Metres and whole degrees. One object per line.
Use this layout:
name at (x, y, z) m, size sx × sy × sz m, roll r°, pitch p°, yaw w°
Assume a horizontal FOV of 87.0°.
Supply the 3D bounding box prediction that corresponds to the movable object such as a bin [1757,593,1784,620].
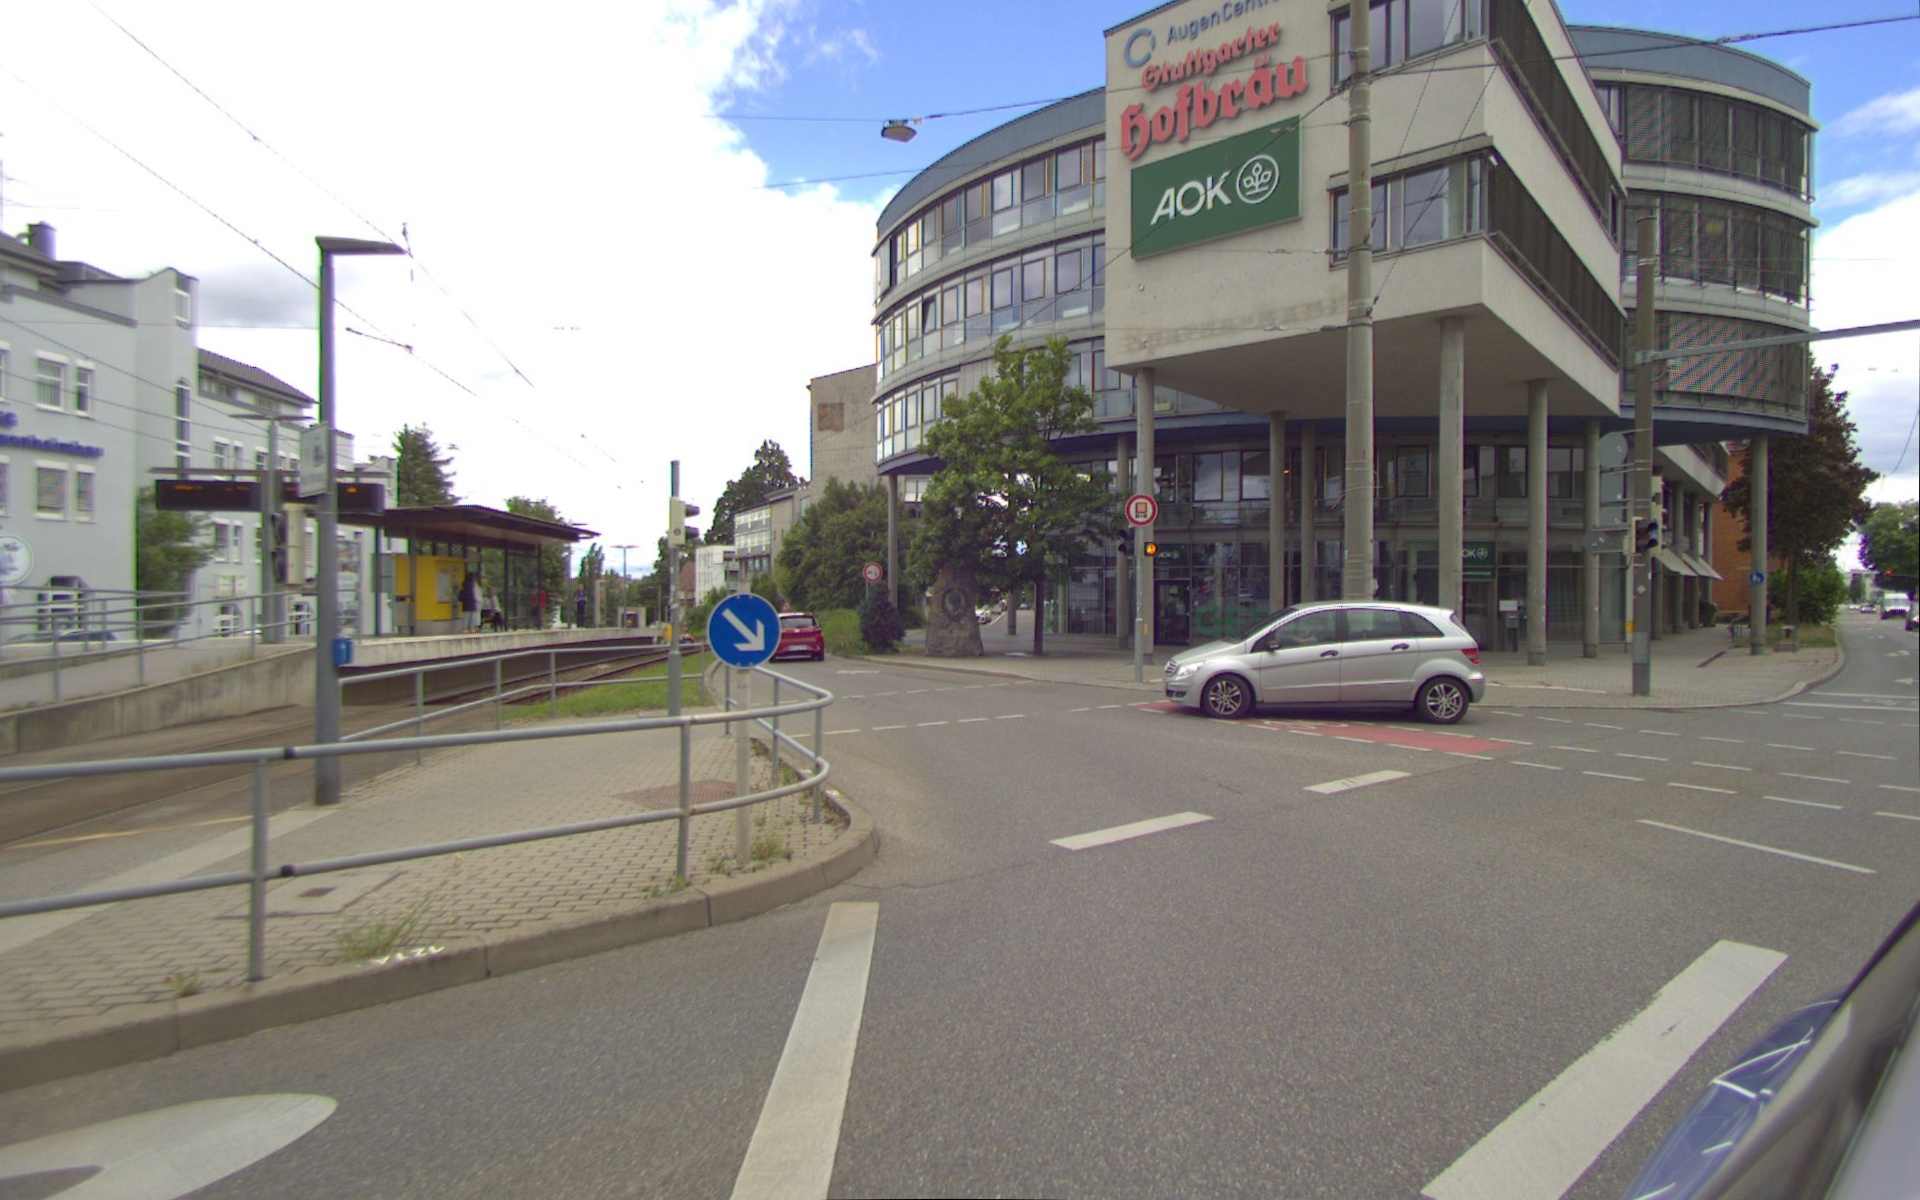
movable object such as a bin at (45.639, 0.353, 56.989) m, size 1.126 × 1.484 × 1.392 m, roll 2°, pitch 2°, yaw 40°

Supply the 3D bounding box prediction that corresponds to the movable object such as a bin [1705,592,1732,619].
movable object such as a bin at (42.950, 0.291, 57.334) m, size 1.121 × 1.484 × 1.314 m, roll 2°, pitch 2°, yaw 40°

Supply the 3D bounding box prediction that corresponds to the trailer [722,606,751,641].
trailer at (-18.037, 1.857, 81.593) m, size 1.844 × 2.646 × 4.332 m, roll -1°, pitch 0°, yaw -18°

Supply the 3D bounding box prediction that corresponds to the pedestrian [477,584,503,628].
pedestrian at (-13.875, 0.168, 29.886) m, size 0.558 × 1.281 × 0.590 m, roll 0°, pitch -1°, yaw -6°

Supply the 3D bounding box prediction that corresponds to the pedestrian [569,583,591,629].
pedestrian at (-14.438, 0.220, 38.460) m, size 0.773 × 1.740 × 0.691 m, roll 0°, pitch -2°, yaw -20°

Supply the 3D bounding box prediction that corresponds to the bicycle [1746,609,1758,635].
bicycle at (35.235, 0.954, 45.010) m, size 0.360 × 1.100 × 1.998 m, roll -1°, pitch 0°, yaw 39°

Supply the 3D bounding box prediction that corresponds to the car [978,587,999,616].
car at (2.965, 0.121, 104.871) m, size 2.125 × 2.866 × 6.106 m, roll 0°, pitch 0°, yaw 2°

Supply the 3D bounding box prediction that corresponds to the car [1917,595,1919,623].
car at (56.105, 0.527, 57.871) m, size 1.959 × 1.545 × 4.501 m, roll 1°, pitch 1°, yaw 43°

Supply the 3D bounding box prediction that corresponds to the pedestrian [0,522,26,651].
pedestrian at (-13.286, -0.182, 13.699) m, size 0.690 × 1.740 × 0.651 m, roll 0°, pitch 0°, yaw -8°

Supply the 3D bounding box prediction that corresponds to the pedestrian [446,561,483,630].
pedestrian at (-12.729, -0.102, 26.028) m, size 0.675 × 1.740 × 0.790 m, roll 0°, pitch -1°, yaw -11°

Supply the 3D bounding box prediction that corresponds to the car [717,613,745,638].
car at (-19.474, 2.139, 86.006) m, size 1.844 × 1.970 × 4.916 m, roll -1°, pitch 0°, yaw -18°

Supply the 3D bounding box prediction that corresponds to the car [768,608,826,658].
car at (-5.164, 1.006, 31.749) m, size 1.668 × 1.471 × 4.006 m, roll -1°, pitch -1°, yaw -11°

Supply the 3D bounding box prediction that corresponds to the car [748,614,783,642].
car at (-10.906, 1.554, 56.606) m, size 1.703 × 1.428 × 4.008 m, roll 1°, pitch 0°, yaw -14°

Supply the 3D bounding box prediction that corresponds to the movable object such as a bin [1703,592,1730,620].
movable object such as a bin at (42.099, 0.308, 56.297) m, size 1.097 × 1.484 × 1.314 m, roll 2°, pitch 2°, yaw 40°

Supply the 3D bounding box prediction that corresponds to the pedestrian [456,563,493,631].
pedestrian at (-13.228, -0.074, 27.590) m, size 0.775 × 1.797 × 0.689 m, roll 1°, pitch -2°, yaw -38°

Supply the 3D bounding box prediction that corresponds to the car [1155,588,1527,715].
car at (5.080, 0.704, 14.175) m, size 4.496 × 1.566 × 1.994 m, roll -2°, pitch -1°, yaw 10°

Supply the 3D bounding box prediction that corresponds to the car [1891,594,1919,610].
car at (90.662, 0.185, 96.867) m, size 1.957 × 1.545 × 4.507 m, roll 1°, pitch 1°, yaw 39°

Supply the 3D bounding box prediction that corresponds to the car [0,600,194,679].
car at (-24.226, 1.023, 28.203) m, size 1.954 × 1.943 × 4.780 m, roll -1°, pitch 0°, yaw 3°

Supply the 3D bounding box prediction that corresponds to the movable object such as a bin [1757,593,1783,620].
movable object such as a bin at (46.485, 0.340, 58.045) m, size 1.097 × 1.484 × 1.314 m, roll 2°, pitch 2°, yaw 40°
